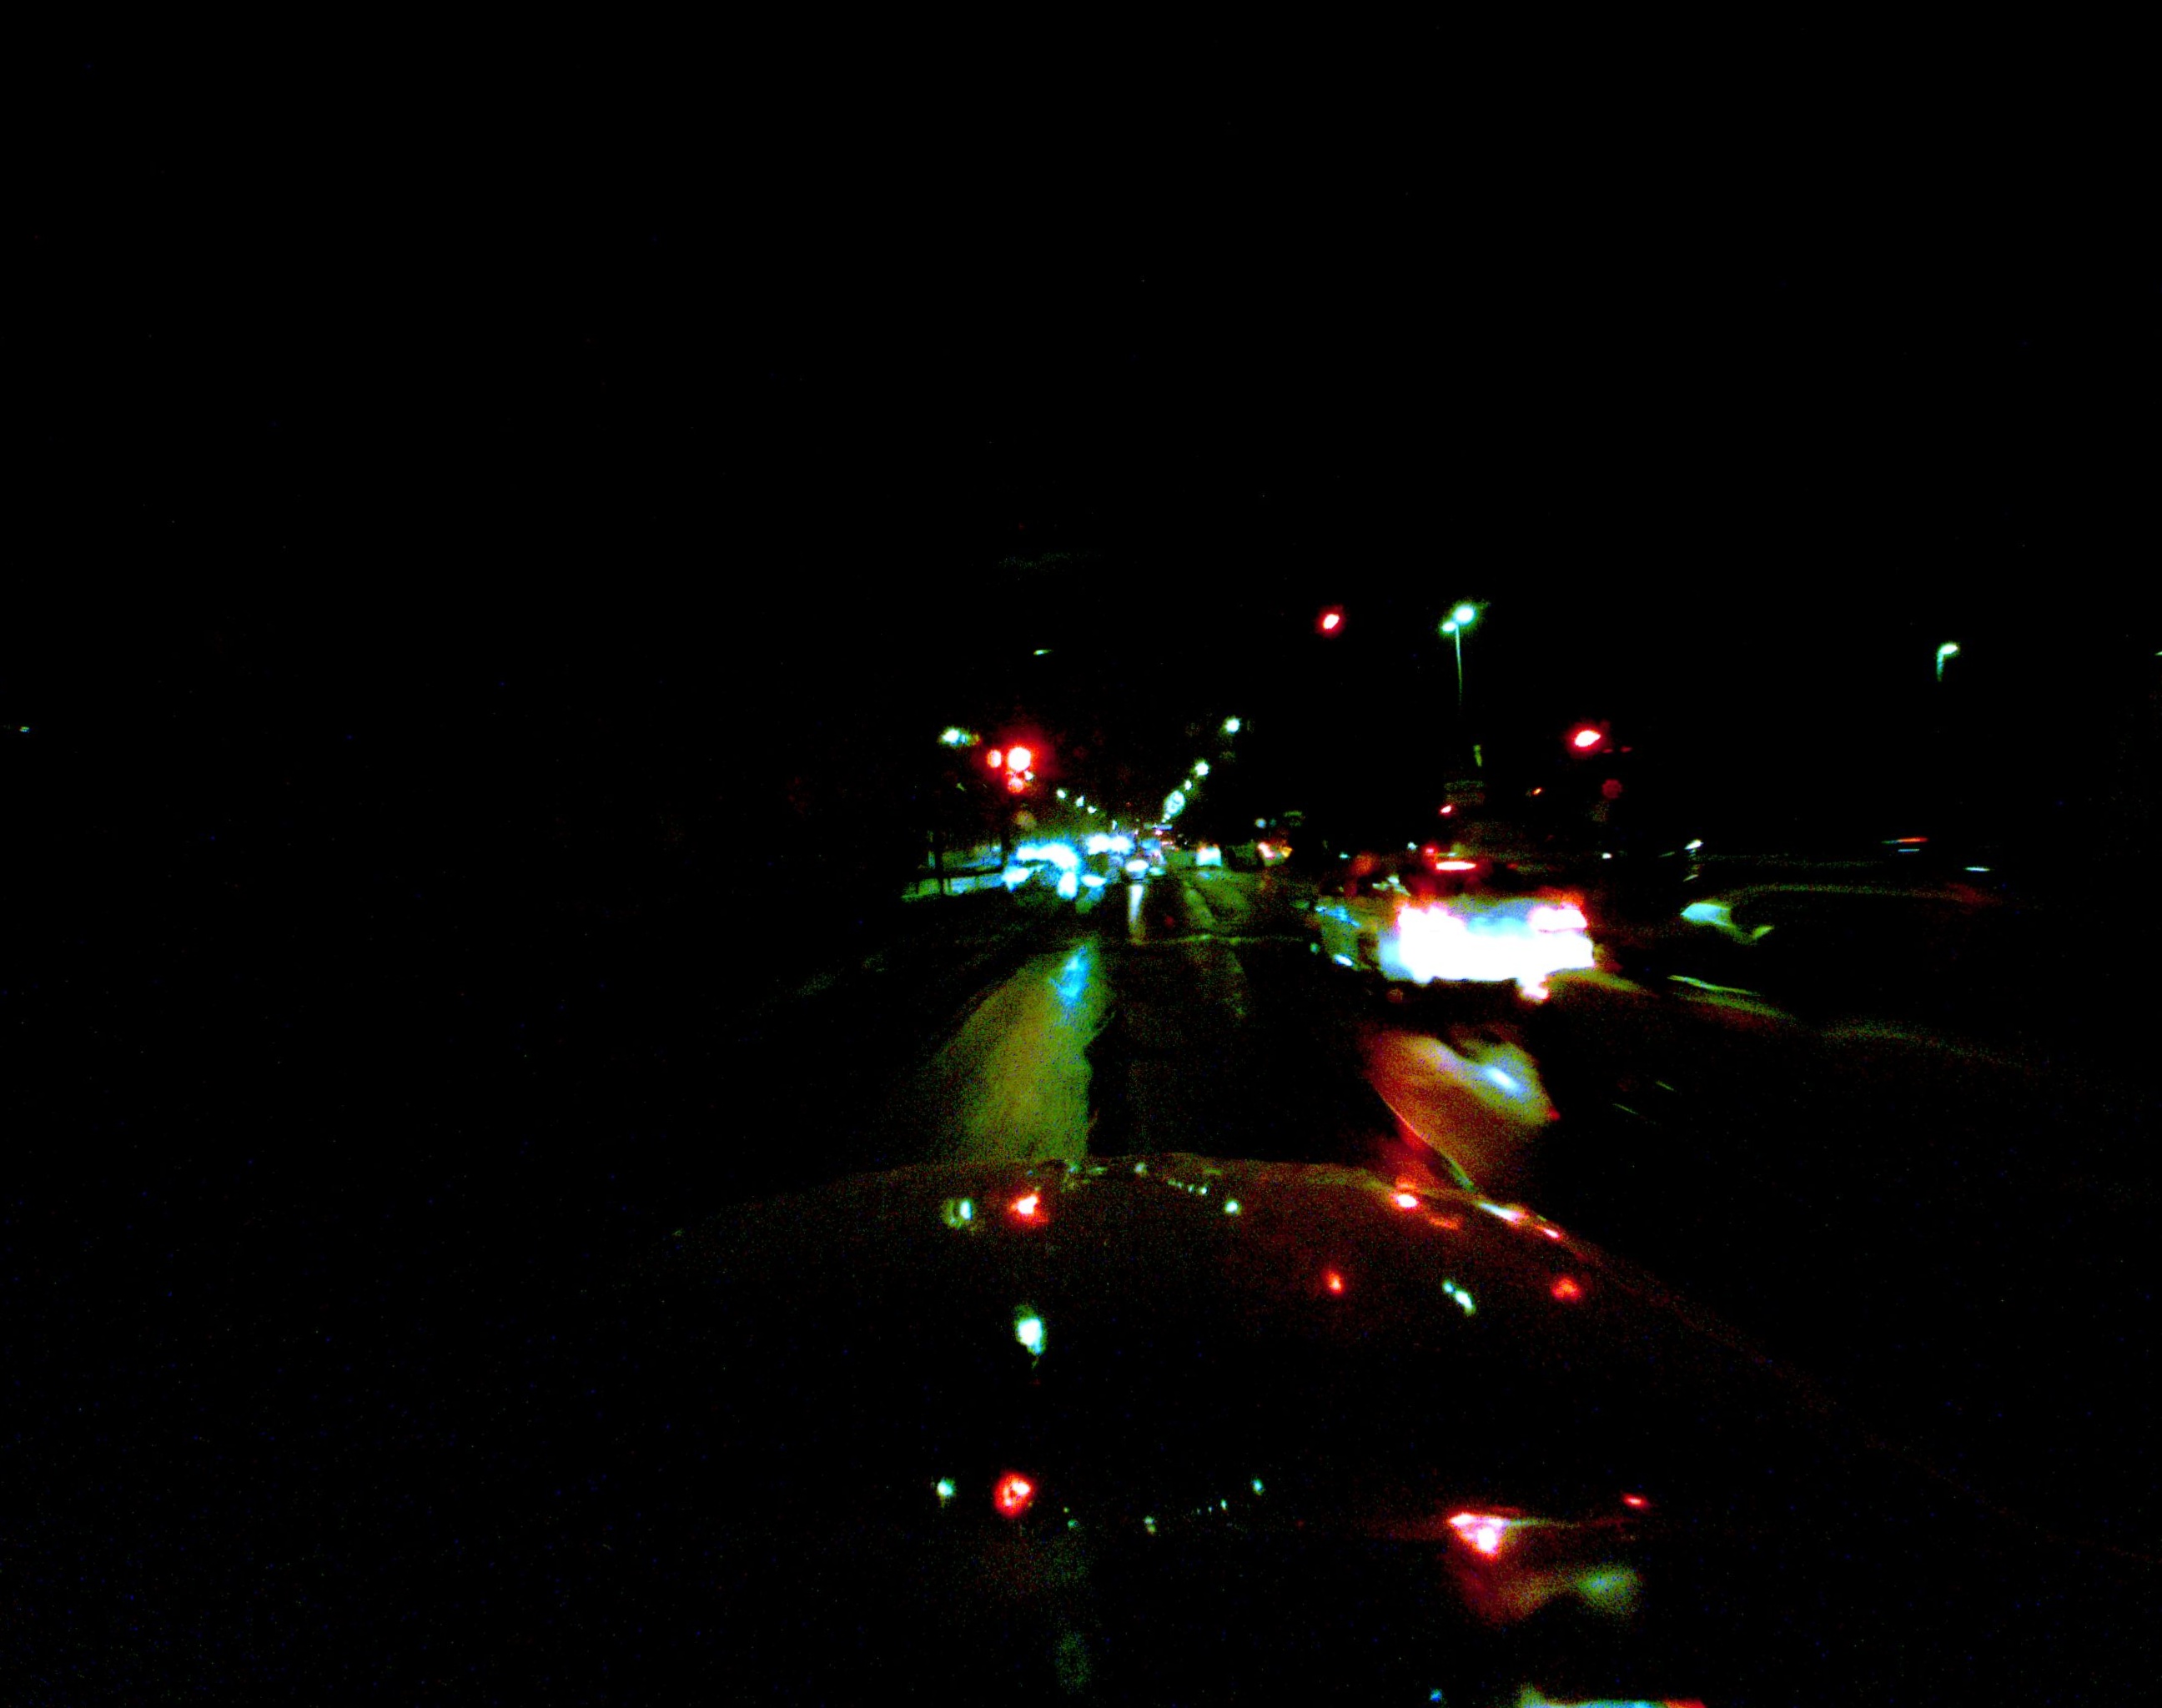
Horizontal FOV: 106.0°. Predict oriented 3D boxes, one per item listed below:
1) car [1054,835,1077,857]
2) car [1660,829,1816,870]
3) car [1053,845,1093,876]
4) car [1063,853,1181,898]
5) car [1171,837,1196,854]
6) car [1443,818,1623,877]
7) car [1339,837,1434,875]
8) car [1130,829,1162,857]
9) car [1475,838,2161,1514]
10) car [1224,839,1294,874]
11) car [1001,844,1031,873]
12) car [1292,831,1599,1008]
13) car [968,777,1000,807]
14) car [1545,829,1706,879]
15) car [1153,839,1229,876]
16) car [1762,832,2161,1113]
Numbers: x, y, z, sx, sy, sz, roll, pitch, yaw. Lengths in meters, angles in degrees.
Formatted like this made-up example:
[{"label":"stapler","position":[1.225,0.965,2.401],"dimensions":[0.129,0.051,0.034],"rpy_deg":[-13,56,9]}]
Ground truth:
[{"label":"car","position":[-1.485,-0.757,79.913],"dimensions":[1.689,2.014,3.575],"rpy_deg":[-1,0,7]},{"label":"car","position":[27.608,-0.174,34.378],"dimensions":[4.818,1.590,1.859],"rpy_deg":[-1,0,12]},{"label":"car","position":[-0.507,0.360,46.888],"dimensions":[1.833,1.671,4.452],"rpy_deg":[-1,0,-7]},{"label":"car","position":[1.573,0.826,32.175],"dimensions":[4.371,1.649,1.848],"rpy_deg":[-1,0,39]},{"label":"car","position":[9.812,-0.762,78.314],"dimensions":[2.083,1.545,4.309],"rpy_deg":[-1,0,2]},{"label":"car","position":[14.574,-0.193,26.546],"dimensions":[4.790,1.769,1.843],"rpy_deg":[-1,0,12]},{"label":"car","position":[15.034,0.122,40.058],"dimensions":[4.254,1.785,2.056],"rpy_deg":[-1,0,23]},{"label":"car","position":[5.252,-0.858,66.543],"dimensions":[2.431,2.194,5.082],"rpy_deg":[-1,0,2]},{"label":"car","position":[3.270,0.681,3.139],"dimensions":[1.712,1.446,4.167],"rpy_deg":[-1,0,4]},{"label":"car","position":[10.952,0.167,50.367],"dimensions":[2.048,2.014,4.271],"rpy_deg":[-1,0,-25]},{"label":"car","position":[-4.056,0.287,50.547],"dimensions":[1.716,1.734,3.756],"rpy_deg":[-1,0,-7]},{"label":"car","position":[3.690,0.568,9.194],"dimensions":[1.712,1.446,4.387],"rpy_deg":[-3,0,4]},{"label":"car","position":[-6.646,-4.224,56.051],"dimensions":[1.949,1.672,4.410],"rpy_deg":[-1,0,-4]},{"label":"car","position":[19.025,0.019,28.672],"dimensions":[4.334,1.623,1.845],"rpy_deg":[-1,0,16]},{"label":"car","position":[6.275,0.228,46.924],"dimensions":[2.052,2.014,4.262],"rpy_deg":[-1,0,-33]},{"label":"car","position":[6.589,0.609,4.868],"dimensions":[1.712,1.446,4.167],"rpy_deg":[-3,0,4]}]
